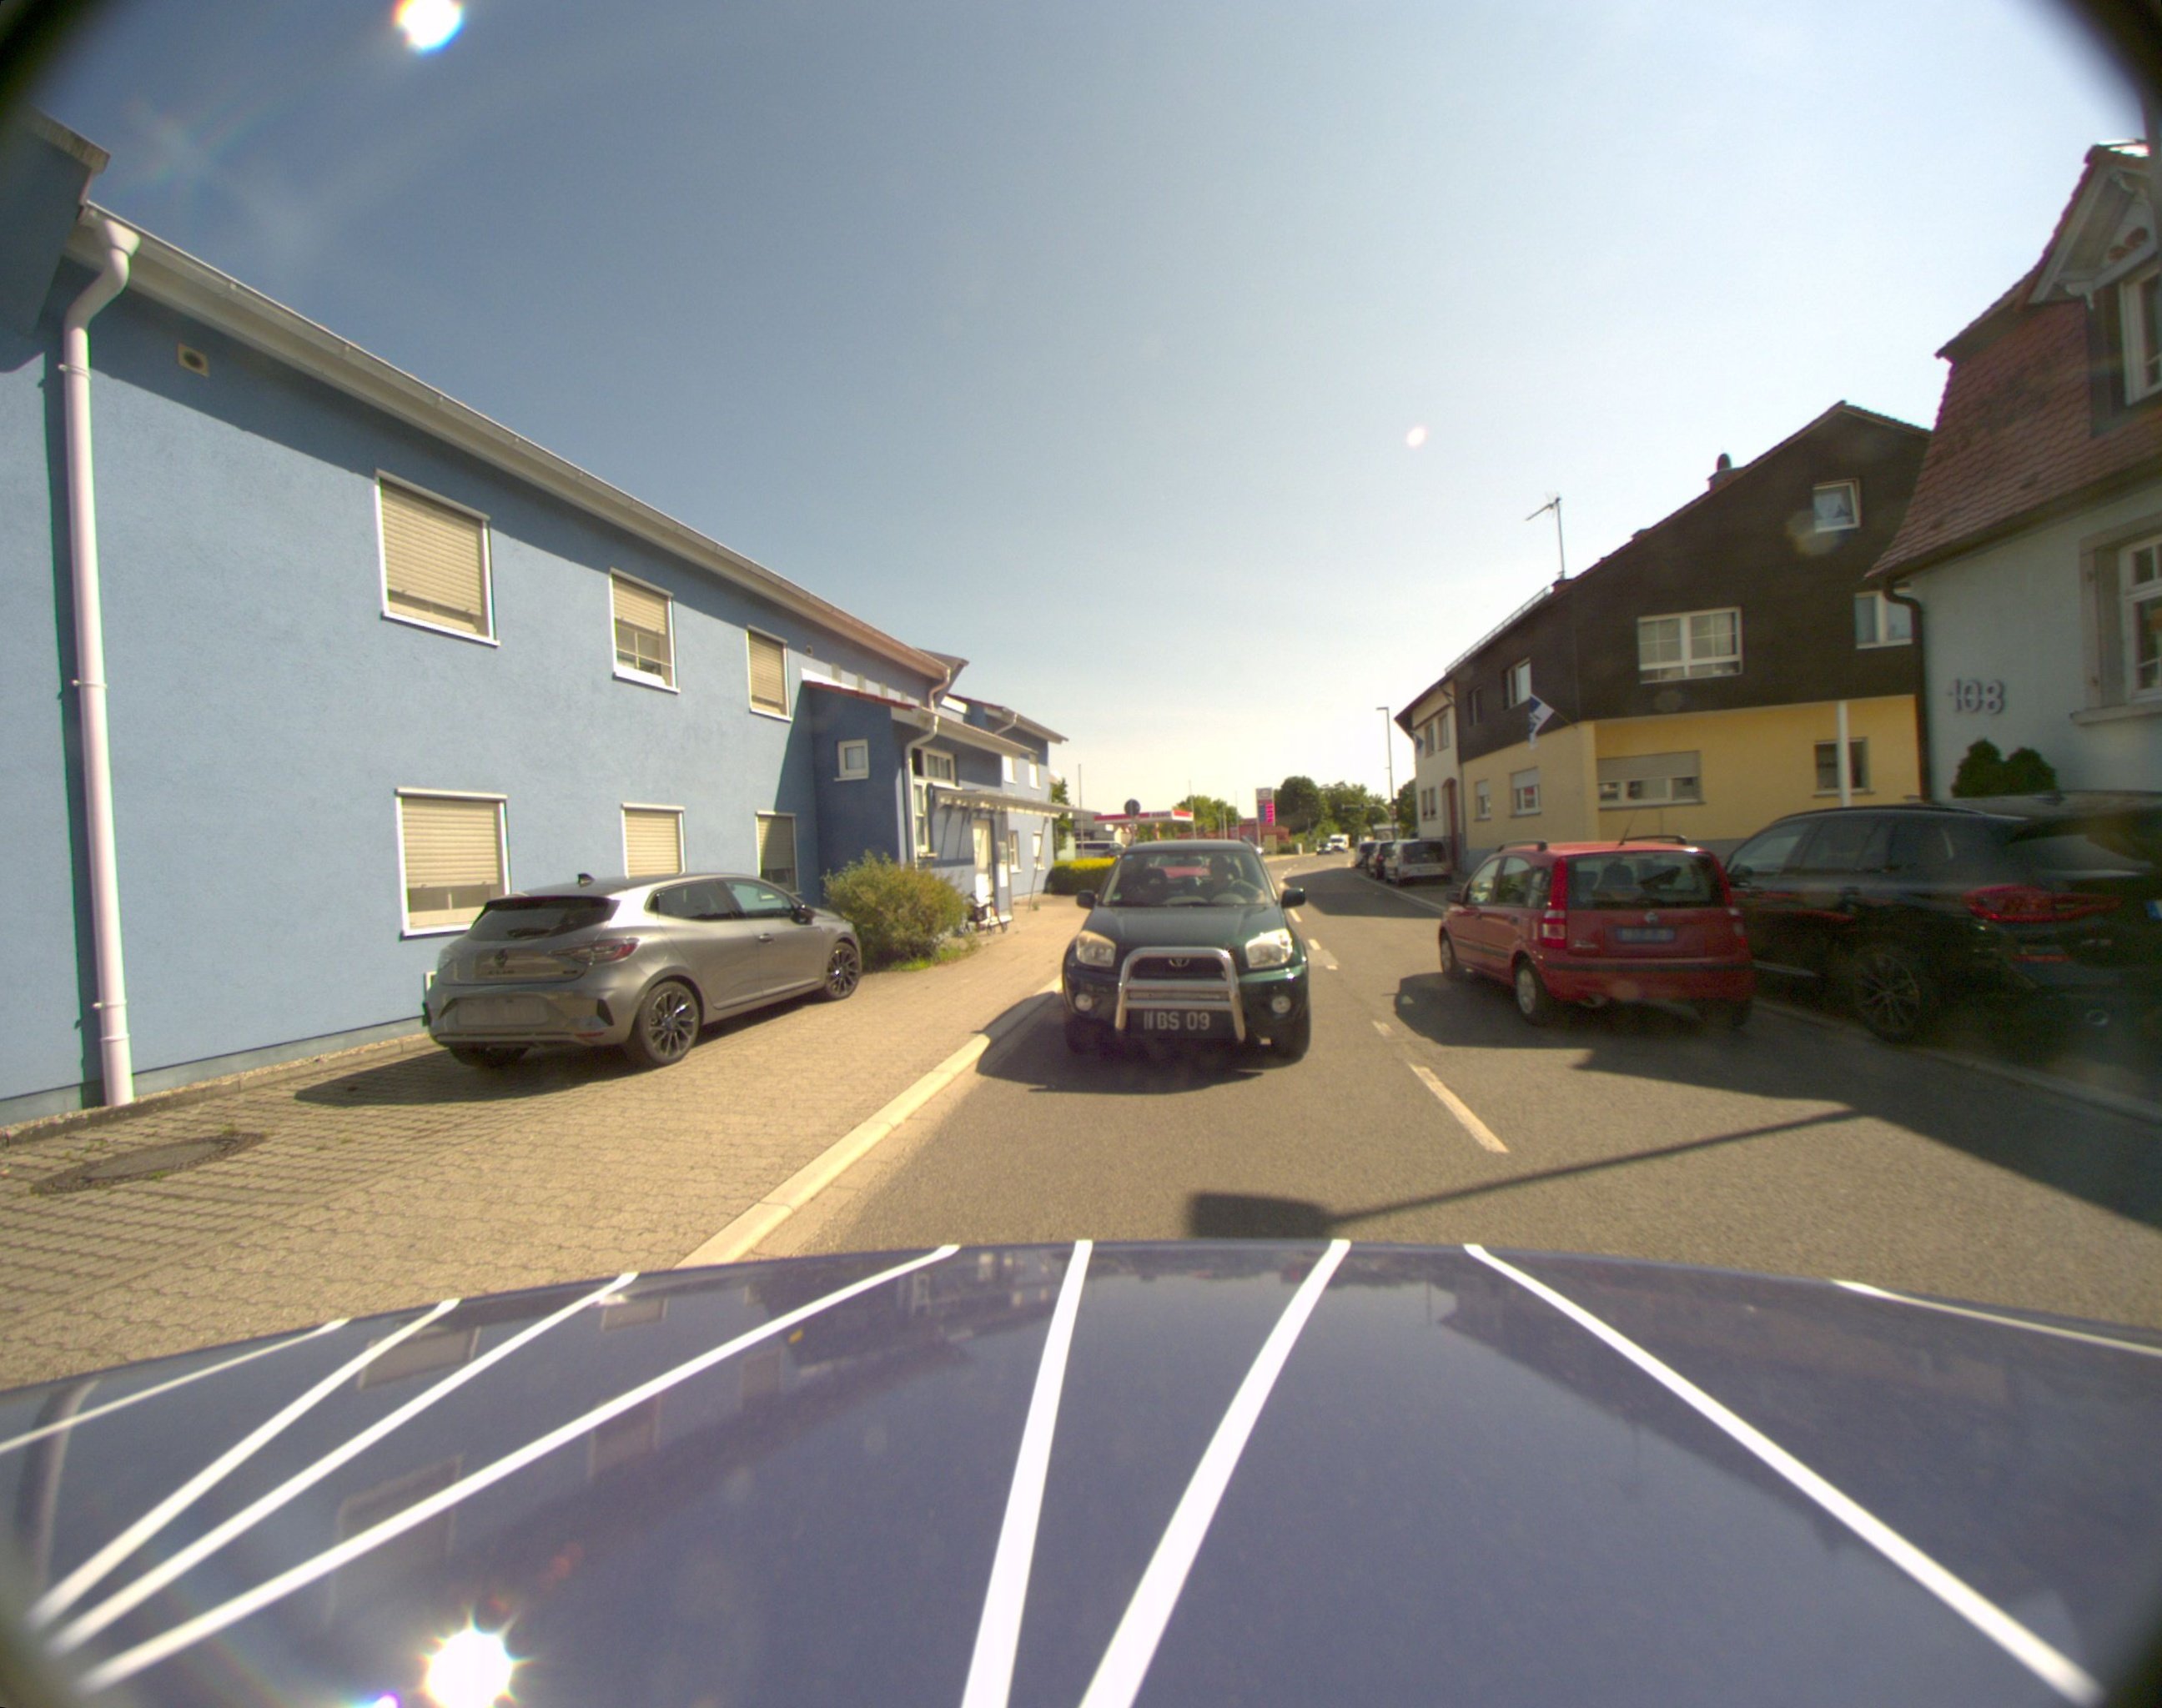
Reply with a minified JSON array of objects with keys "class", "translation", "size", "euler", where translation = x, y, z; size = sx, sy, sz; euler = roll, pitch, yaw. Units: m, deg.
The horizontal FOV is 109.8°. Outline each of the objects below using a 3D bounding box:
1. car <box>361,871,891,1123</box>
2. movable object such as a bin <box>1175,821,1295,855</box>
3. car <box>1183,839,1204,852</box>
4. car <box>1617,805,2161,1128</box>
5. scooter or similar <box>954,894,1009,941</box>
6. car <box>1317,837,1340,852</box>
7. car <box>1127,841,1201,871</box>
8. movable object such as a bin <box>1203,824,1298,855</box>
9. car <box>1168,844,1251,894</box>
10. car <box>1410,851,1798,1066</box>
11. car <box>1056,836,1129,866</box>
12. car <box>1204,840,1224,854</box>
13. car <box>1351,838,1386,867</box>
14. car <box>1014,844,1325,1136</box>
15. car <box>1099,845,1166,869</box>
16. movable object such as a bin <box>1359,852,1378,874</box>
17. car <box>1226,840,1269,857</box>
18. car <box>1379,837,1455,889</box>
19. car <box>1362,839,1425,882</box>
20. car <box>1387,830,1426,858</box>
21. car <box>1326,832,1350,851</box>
[{"class":"car","translation":[-3.540,0.993,6.987],"size":[1.692,1.412,4.149],"euler":[-3,1,13]},{"class":"movable object such as a bin","translation":[21.286,-2.145,105.808],"size":[16.067,3.995,2.778],"euler":[-2,1,23]},{"class":"car","translation":[14.506,-1.086,97.598],"size":[2.001,1.583,4.343],"euler":[-2,1,17]},{"class":"car","translation":[6.666,0.552,6.251],"size":[1.923,1.658,4.669],"euler":[-5,0,12]},{"class":"scooter or similar","translation":[-1.880,1.195,14.439],"size":[0.729,0.810,0.828],"euler":[-2,1,17]},{"class":"car","translation":[29.456,-1.137,90.388],"size":[1.842,1.583,4.113],"euler":[-2,1,30]},{"class":"car","translation":[5.051,0.098,46.527],"size":[4.115,1.644,1.829],"euler":[-2,1,-14]},{"class":"movable object such as a bin","translation":[25.106,-2.109,112.866],"size":[13.266,4.141,2.867],"euler":[-2,1,23]},{"class":"car","translation":[4.496,0.584,26.113],"size":[1.734,1.485,4.365],"euler":[-1,-4,25]},{"class":"car","translation":[4.582,0.777,7.362],"size":[1.604,1.481,3.627],"euler":[-4,0,9]},{"class":"car","translation":[0.825,-0.211,57.084],"size":[5.283,2.002,2.231],"euler":[-2,1,-3]},{"class":"car","translation":[16.981,-0.894,96.790],"size":[1.843,1.583,4.110],"euler":[-2,1,17]},{"class":"car","translation":[16.049,-0.122,42.440],"size":[1.686,1.453,3.653],"euler":[-3,1,20]},{"class":"car","translation":[1.040,0.808,6.751],"size":[1.847,1.686,4.403],"euler":[-2,0,14]},{"class":"car","translation":[3.647,0.184,54.094],"size":[4.319,1.542,1.982],"euler":[-2,1,-13]},{"class":"movable object such as a bin","translation":[12.827,0.390,33.903],"size":[0.552,0.923,0.826],"euler":[-7,0,9]},{"class":"car","translation":[16.509,-0.547,75.486],"size":[1.777,1.546,4.173],"euler":[-3,1,-28]},{"class":"car","translation":[11.151,0.255,25.412],"size":[1.643,1.492,3.785],"euler":[-5,0,15]},{"class":"car","translation":[12.285,0.195,30.090],"size":[1.681,1.428,3.999],"euler":[-6,0,15]},{"class":"car","translation":[23.616,-0.735,55.016],"size":[1.838,1.782,4.350],"euler":[-5,-1,32]},{"class":"car","translation":[34.658,-1.701,102.262],"size":[1.935,2.488,5.848],"euler":[-2,1,30]}]
